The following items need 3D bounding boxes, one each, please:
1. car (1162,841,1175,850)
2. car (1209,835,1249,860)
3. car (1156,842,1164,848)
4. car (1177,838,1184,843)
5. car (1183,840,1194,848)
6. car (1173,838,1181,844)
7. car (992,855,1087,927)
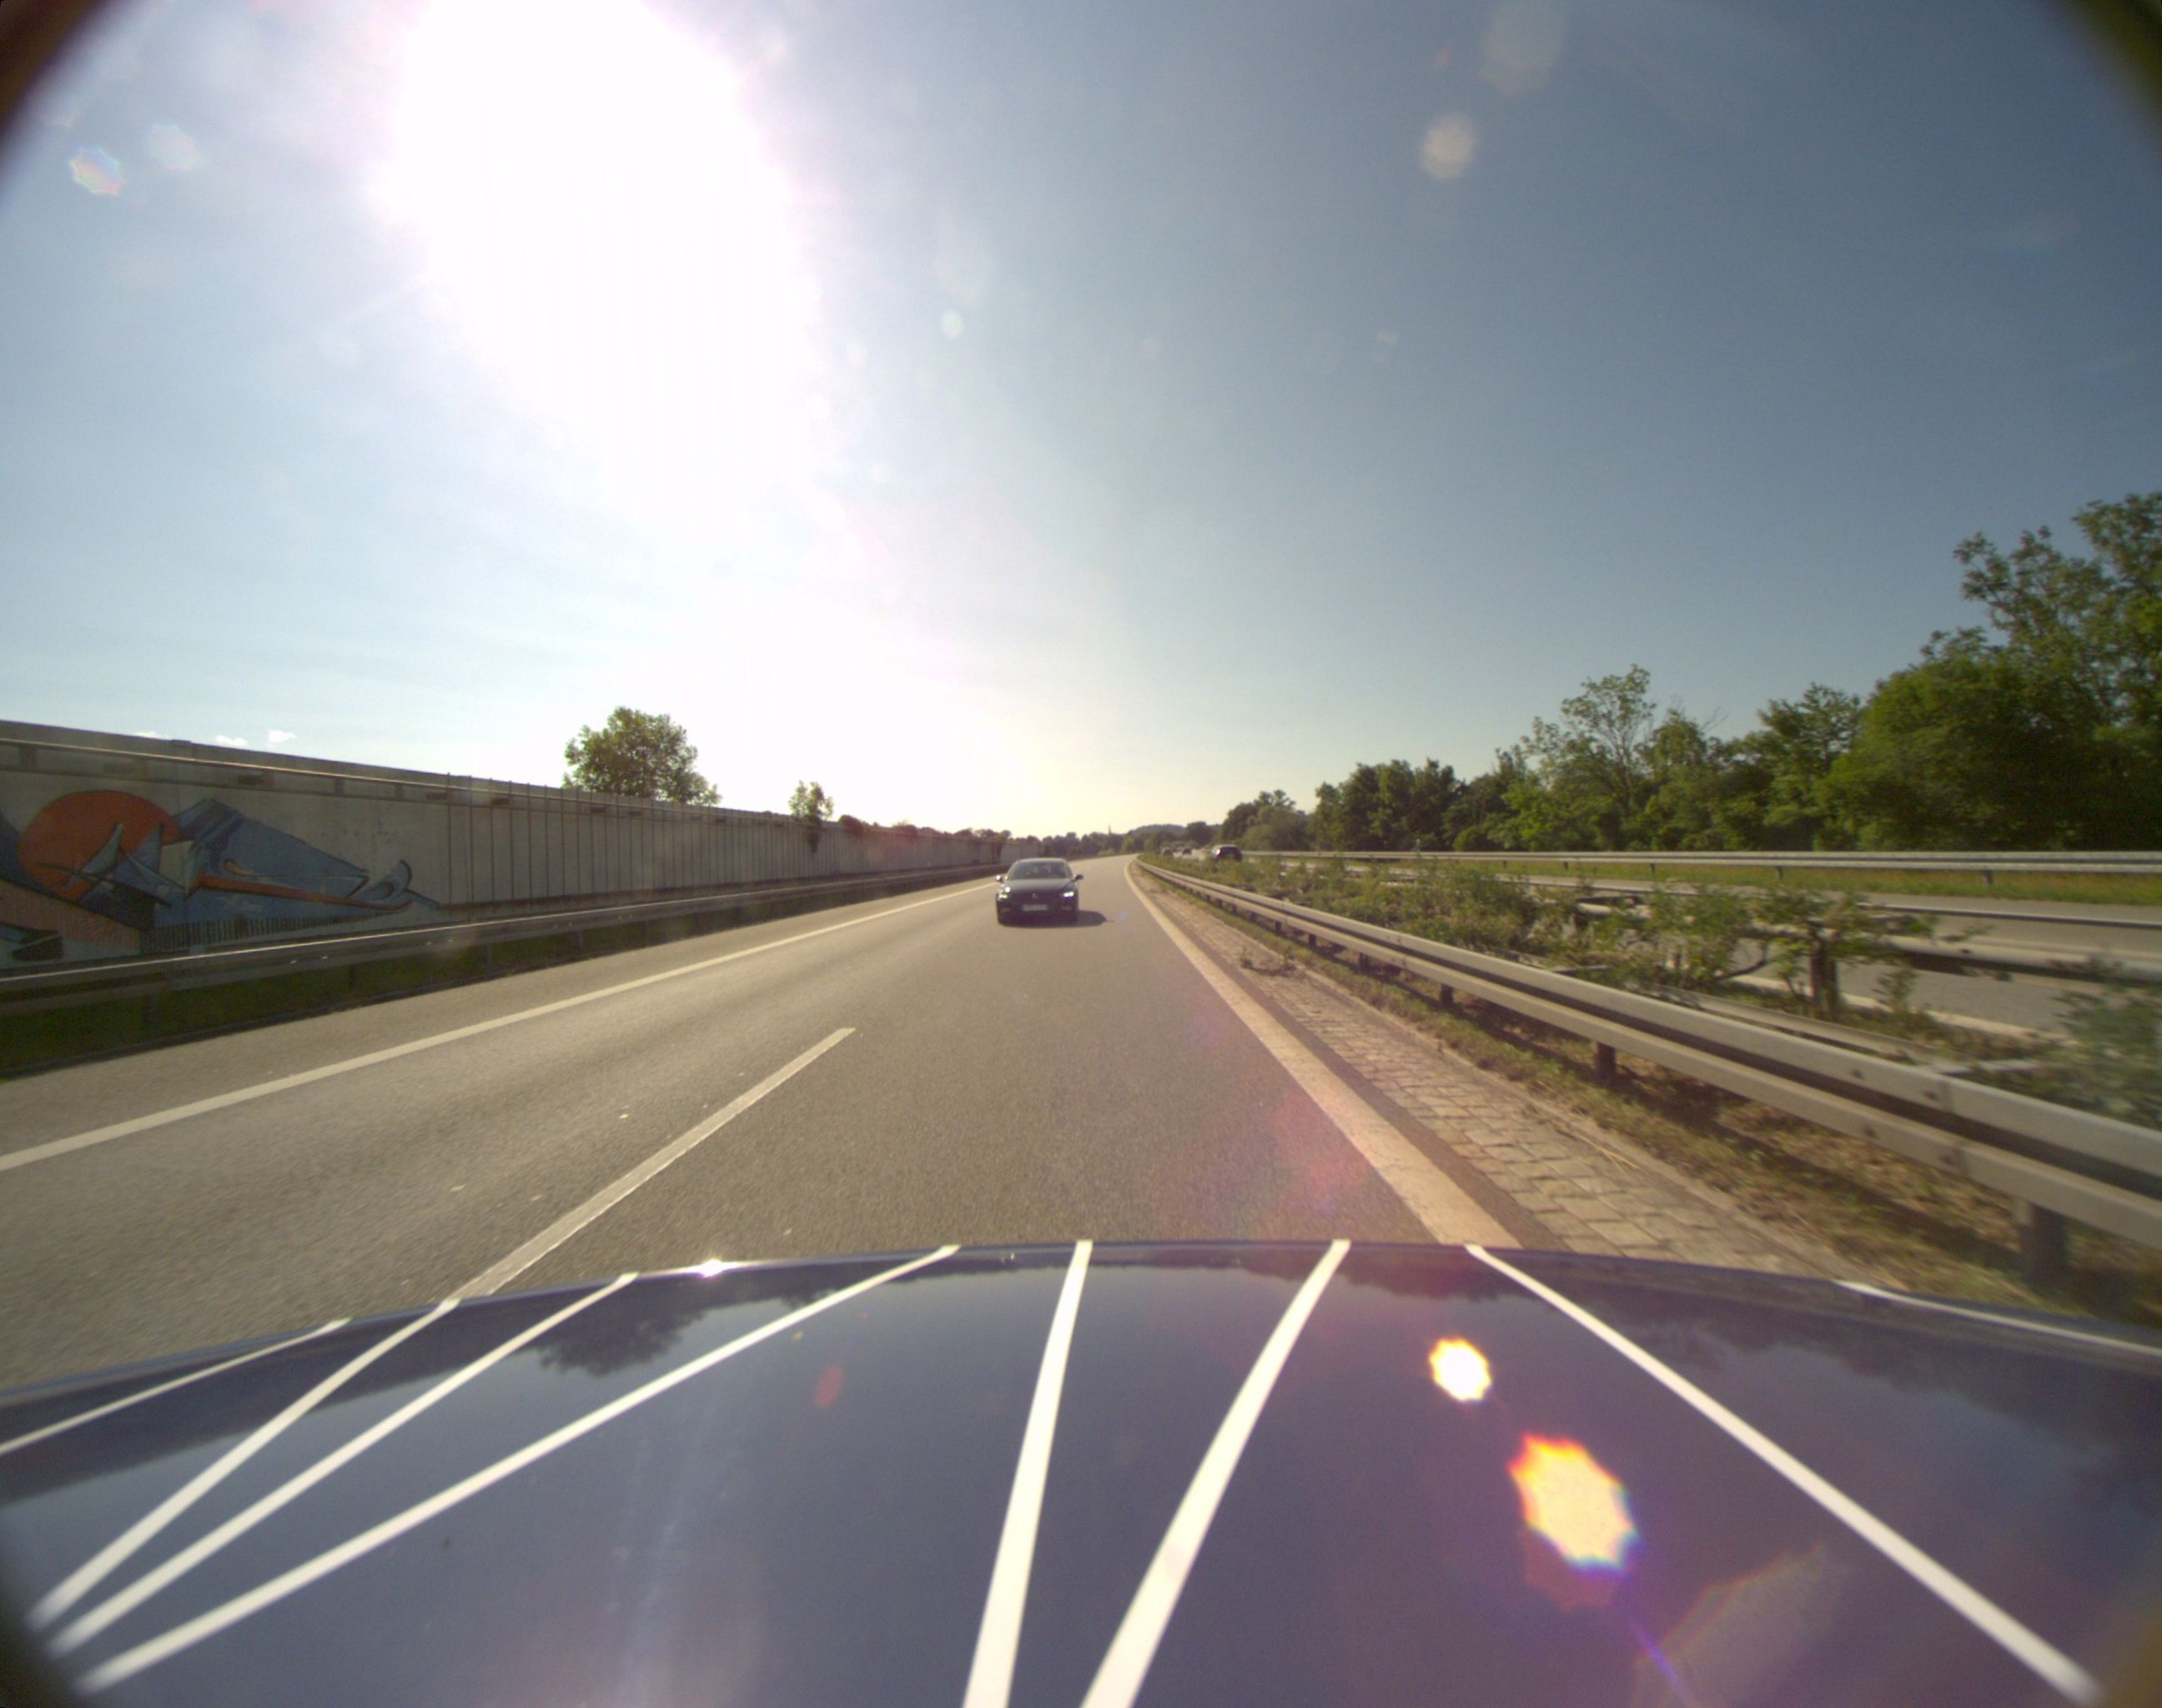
[{"bbox_3d":[15.108,-1.471,130.920,1.935,1.496,4.794,-1,1,4],"label":"car"},{"bbox_3d":[9.164,-0.378,47.230,1.663,1.442,4.246,-1,0,0],"label":"car"},{"bbox_3d":[19.158,-2.148,184.299,1.935,1.496,4.794,-1,1,4],"label":"car"},{"bbox_3d":[32.472,-4.348,248.565,1.935,1.496,4.794,-1,1,4],"label":"car"},{"bbox_3d":[21.845,-2.048,154.027,1.857,1.625,4.494,-1,1,4],"label":"car"},{"bbox_3d":[27.607,-3.744,219.022,1.935,1.496,4.794,-1,1,4],"label":"car"},{"bbox_3d":[-0.883,0.811,18.609,1.722,1.392,4.413,-2,1,4],"label":"car"}]
